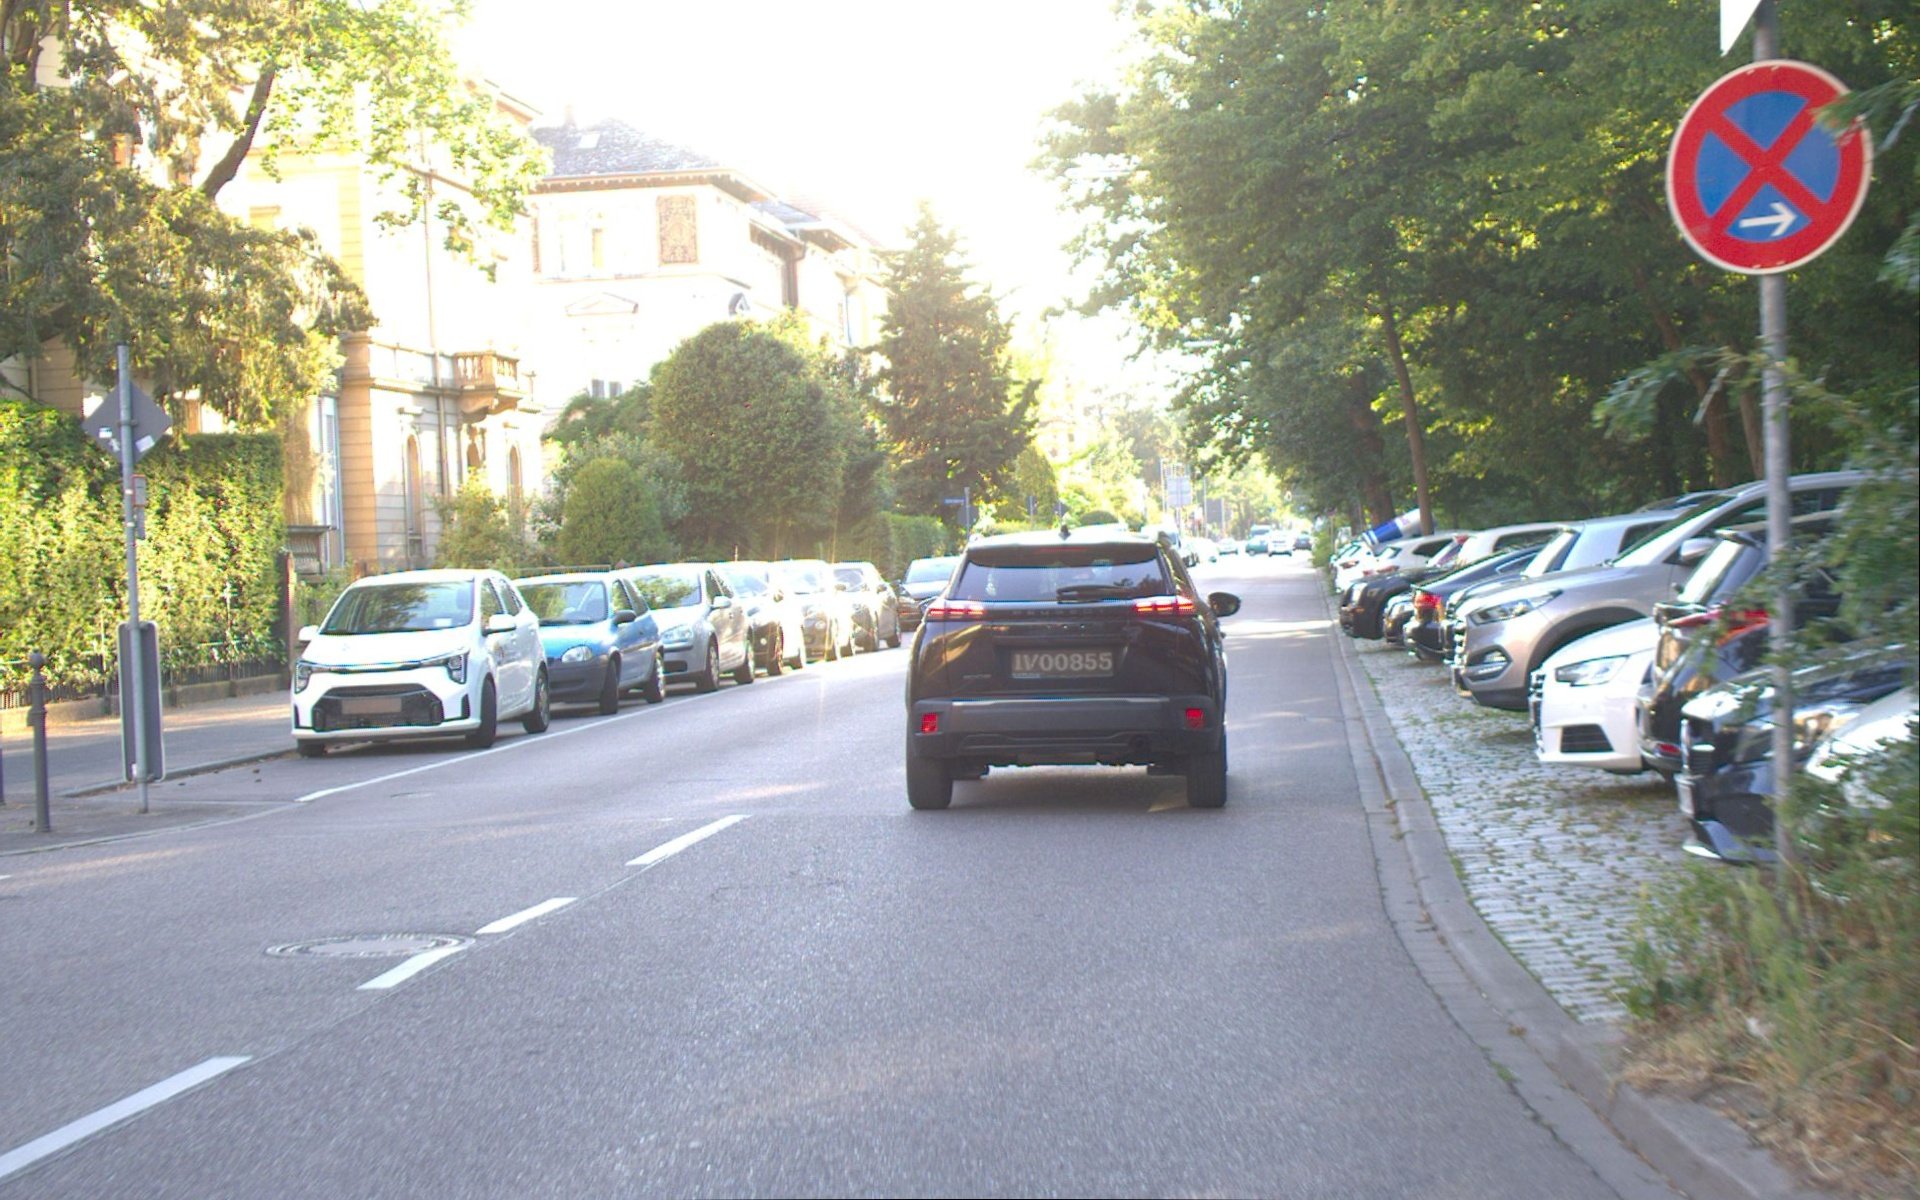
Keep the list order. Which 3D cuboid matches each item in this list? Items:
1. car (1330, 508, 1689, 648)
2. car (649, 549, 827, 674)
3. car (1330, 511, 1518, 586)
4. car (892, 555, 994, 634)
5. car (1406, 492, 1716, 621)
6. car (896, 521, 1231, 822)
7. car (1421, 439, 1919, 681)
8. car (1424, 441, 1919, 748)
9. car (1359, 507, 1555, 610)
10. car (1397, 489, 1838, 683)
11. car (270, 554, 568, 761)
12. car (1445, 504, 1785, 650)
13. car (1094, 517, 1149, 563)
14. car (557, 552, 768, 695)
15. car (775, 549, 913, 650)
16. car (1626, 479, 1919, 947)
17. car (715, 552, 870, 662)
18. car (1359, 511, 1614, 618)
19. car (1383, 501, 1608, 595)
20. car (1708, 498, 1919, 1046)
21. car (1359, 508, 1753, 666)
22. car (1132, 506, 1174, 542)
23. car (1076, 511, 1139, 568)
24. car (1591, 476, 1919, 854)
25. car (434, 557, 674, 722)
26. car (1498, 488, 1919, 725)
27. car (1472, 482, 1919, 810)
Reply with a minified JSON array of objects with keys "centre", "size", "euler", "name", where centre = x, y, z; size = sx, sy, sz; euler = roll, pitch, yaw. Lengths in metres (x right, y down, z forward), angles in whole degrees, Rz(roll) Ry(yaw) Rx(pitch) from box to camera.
[{"centre":[6.917,-0.286,43.663],"size":[4.243,1.444,2.021],"euler":[-4,1,4],"name":"car"},{"centre":[-2.887,0.119,45.459],"size":[1.614,1.461,4.035],"euler":[-3,1,6],"name":"car"},{"centre":[10.503,-1.181,78.046],"size":[3.987,1.520,1.758],"euler":[-2,1,1],"name":"car"},{"centre":[-0.334,-0.131,71.826],"size":[1.752,1.409,3.764],"euler":[-4,1,4],"name":"car"},{"centre":[8.059,-0.587,46.352],"size":[3.808,1.444,1.877],"euler":[-4,1,2],"name":"car"},{"centre":[0.525,0.333,20.261],"size":[1.771,1.563,4.109],"euler":[0,2,-1],"name":"car"},{"centre":[6.379,-0.363,30.887],"size":[4.246,1.783,1.883],"euler":[-4,1,6],"name":"car"},{"centre":[5.446,-0.092,23.486],"size":[4.307,1.798,2.035],"euler":[-4,1,5],"name":"car"},{"centre":[10.850,-0.919,75.253],"size":[3.987,2.082,1.758],"euler":[-2,1,1],"name":"car"},{"centre":[6.348,-0.148,33.565],"size":[3.988,1.549,1.725],"euler":[-4,1,6],"name":"car"},{"centre":[-4.536,0.436,29.328],"size":[1.614,1.510,3.712],"euler":[-4,1,4],"name":"car"},{"centre":[7.746,-0.284,40.897],"size":[3.809,1.444,1.825],"euler":[-4,1,9],"name":"car"},{"centre":[6.563,-2.446,139.258],"size":[1.994,1.762,3.999],"euler":[-2,1,5],"name":"car"},{"centre":[-3.382,0.231,39.707],"size":[1.614,1.461,4.035],"euler":[-3,1,6],"name":"car"},{"centre":[-1.840,-0.039,55.597],"size":[1.614,1.461,4.035],"euler":[-3,1,6],"name":"car"},{"centre":[4.586,0.293,12.636],"size":[3.988,1.549,1.725],"euler":[-3,2,6],"name":"car"},{"centre":[-2.434,0.072,50.885],"size":[1.614,1.461,4.035],"euler":[-3,1,6],"name":"car"},{"centre":[8.516,-0.583,55.805],"size":[3.808,1.444,1.826],"euler":[-4,1,2],"name":"car"},{"centre":[10.215,-0.995,65.769],"size":[3.987,1.619,1.758],"euler":[-2,1,1],"name":"car"},{"centre":[4.475,0.390,10.611],"size":[3.988,1.549,1.725],"euler":[-3,1,6],"name":"car"},{"centre":[6.642,-0.157,38.511],"size":[4.159,1.444,1.730],"euler":[-4,1,9],"name":"car"},{"centre":[10.031,-3.941,178.276],"size":[1.994,1.809,3.999],"euler":[-2,1,5],"name":"car"},{"centre":[5.485,-2.268,127.435],"size":[1.994,2.007,3.999],"euler":[-2,1,7],"name":"car"},{"centre":[5.006,0.193,15.679],"size":[3.988,1.549,1.752],"euler":[-3,2,6],"name":"car"},{"centre":[-4.068,0.357,34.980],"size":[1.614,1.480,3.741],"euler":[-3,1,5],"name":"car"},{"centre":[6.070,0.003,25.354],"size":[3.988,1.549,1.725],"euler":[-3,1,6],"name":"car"},{"centre":[5.143,0.146,18.198],"size":[4.484,1.549,1.857],"euler":[-3,1,-1],"name":"car"}]
